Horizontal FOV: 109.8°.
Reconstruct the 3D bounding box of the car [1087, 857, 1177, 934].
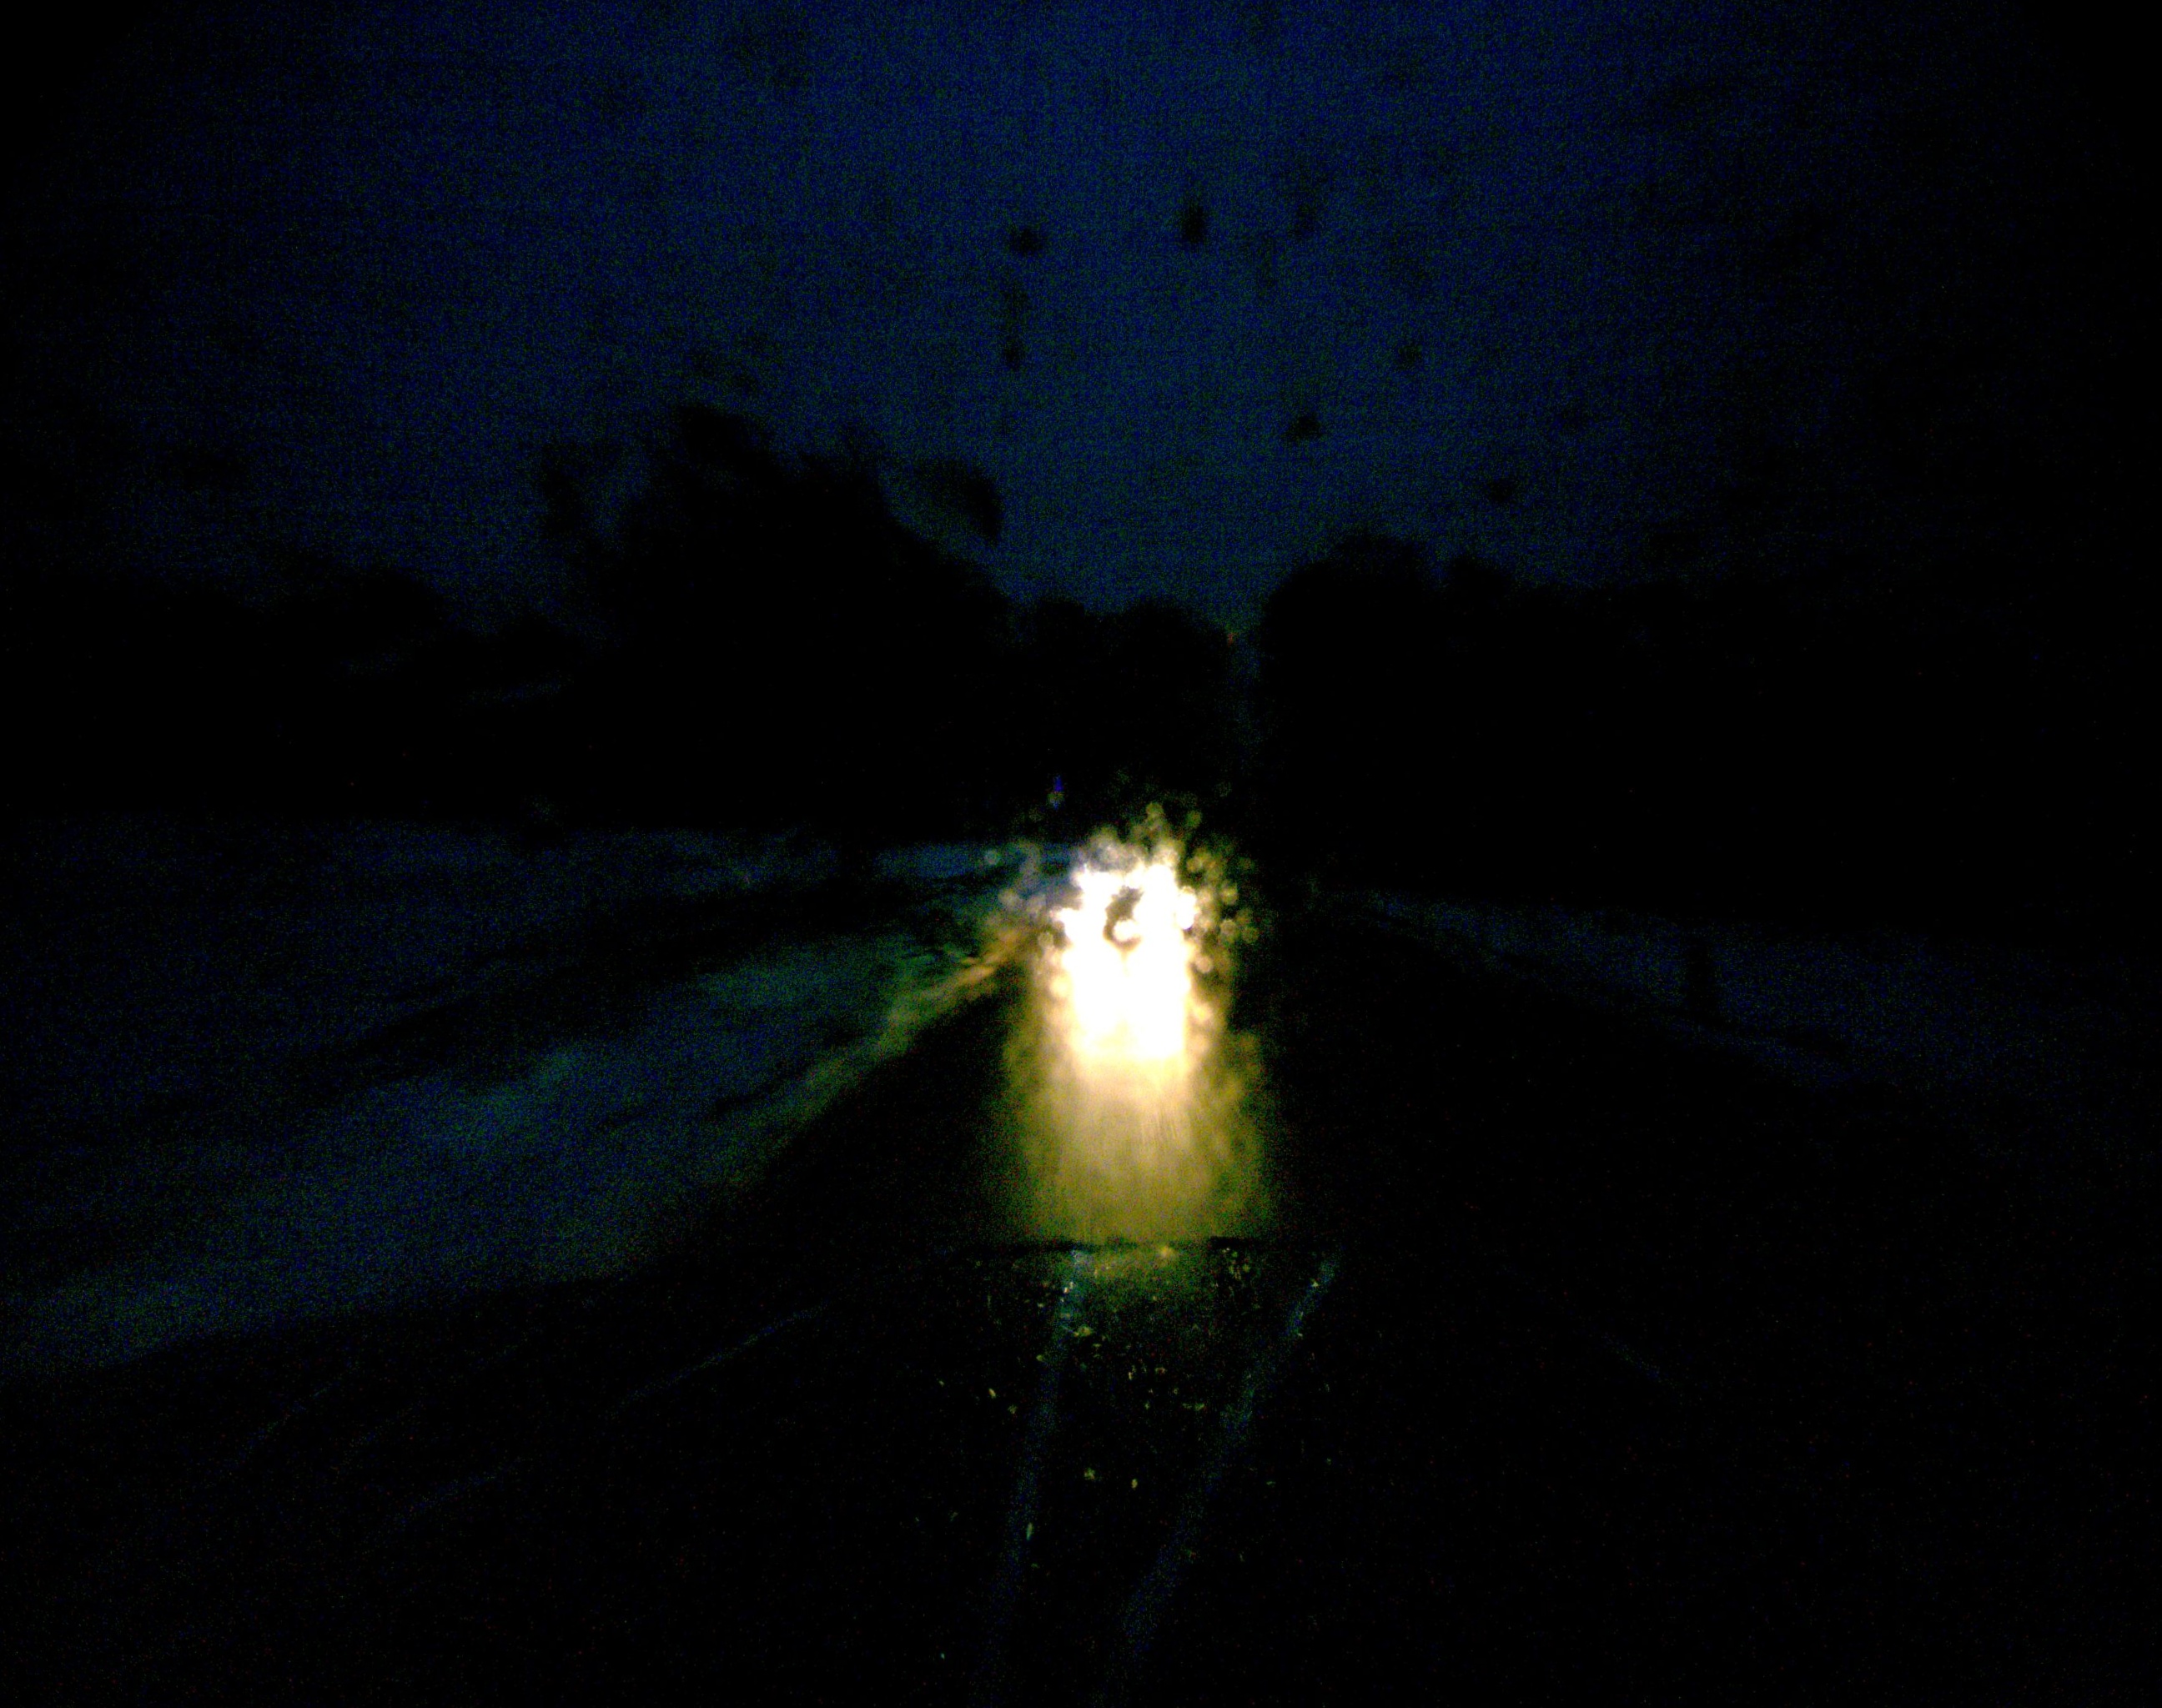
[{"bbox_3d":[1.258,0.867,17.368,1.648,1.446,3.683,-2,0,9],"label":"car"}]
